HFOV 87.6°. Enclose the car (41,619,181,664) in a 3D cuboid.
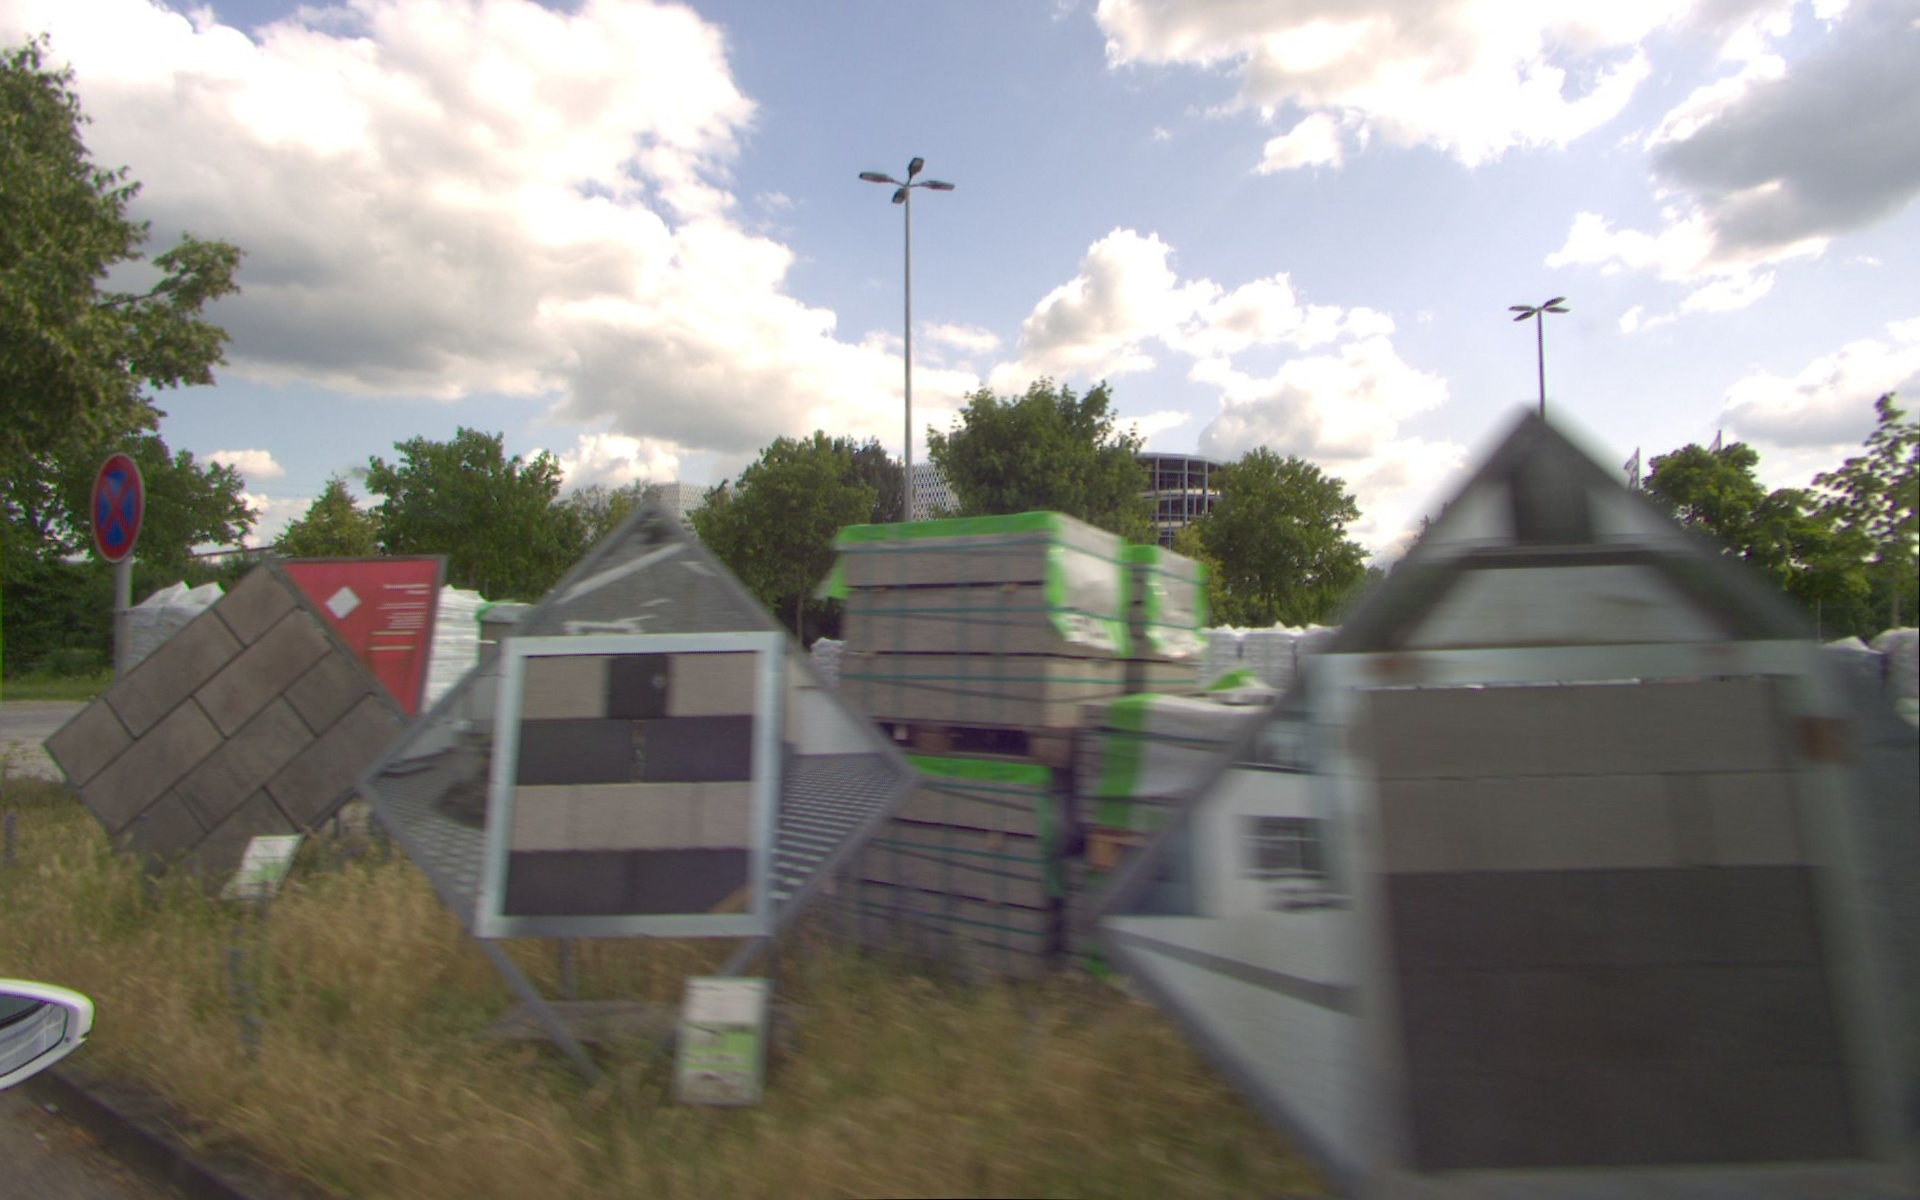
[{"bbox_3d":[-34.609,1.709,40.982,3.938,1.737,1.993,2,-2,-26],"label":"car"}]
